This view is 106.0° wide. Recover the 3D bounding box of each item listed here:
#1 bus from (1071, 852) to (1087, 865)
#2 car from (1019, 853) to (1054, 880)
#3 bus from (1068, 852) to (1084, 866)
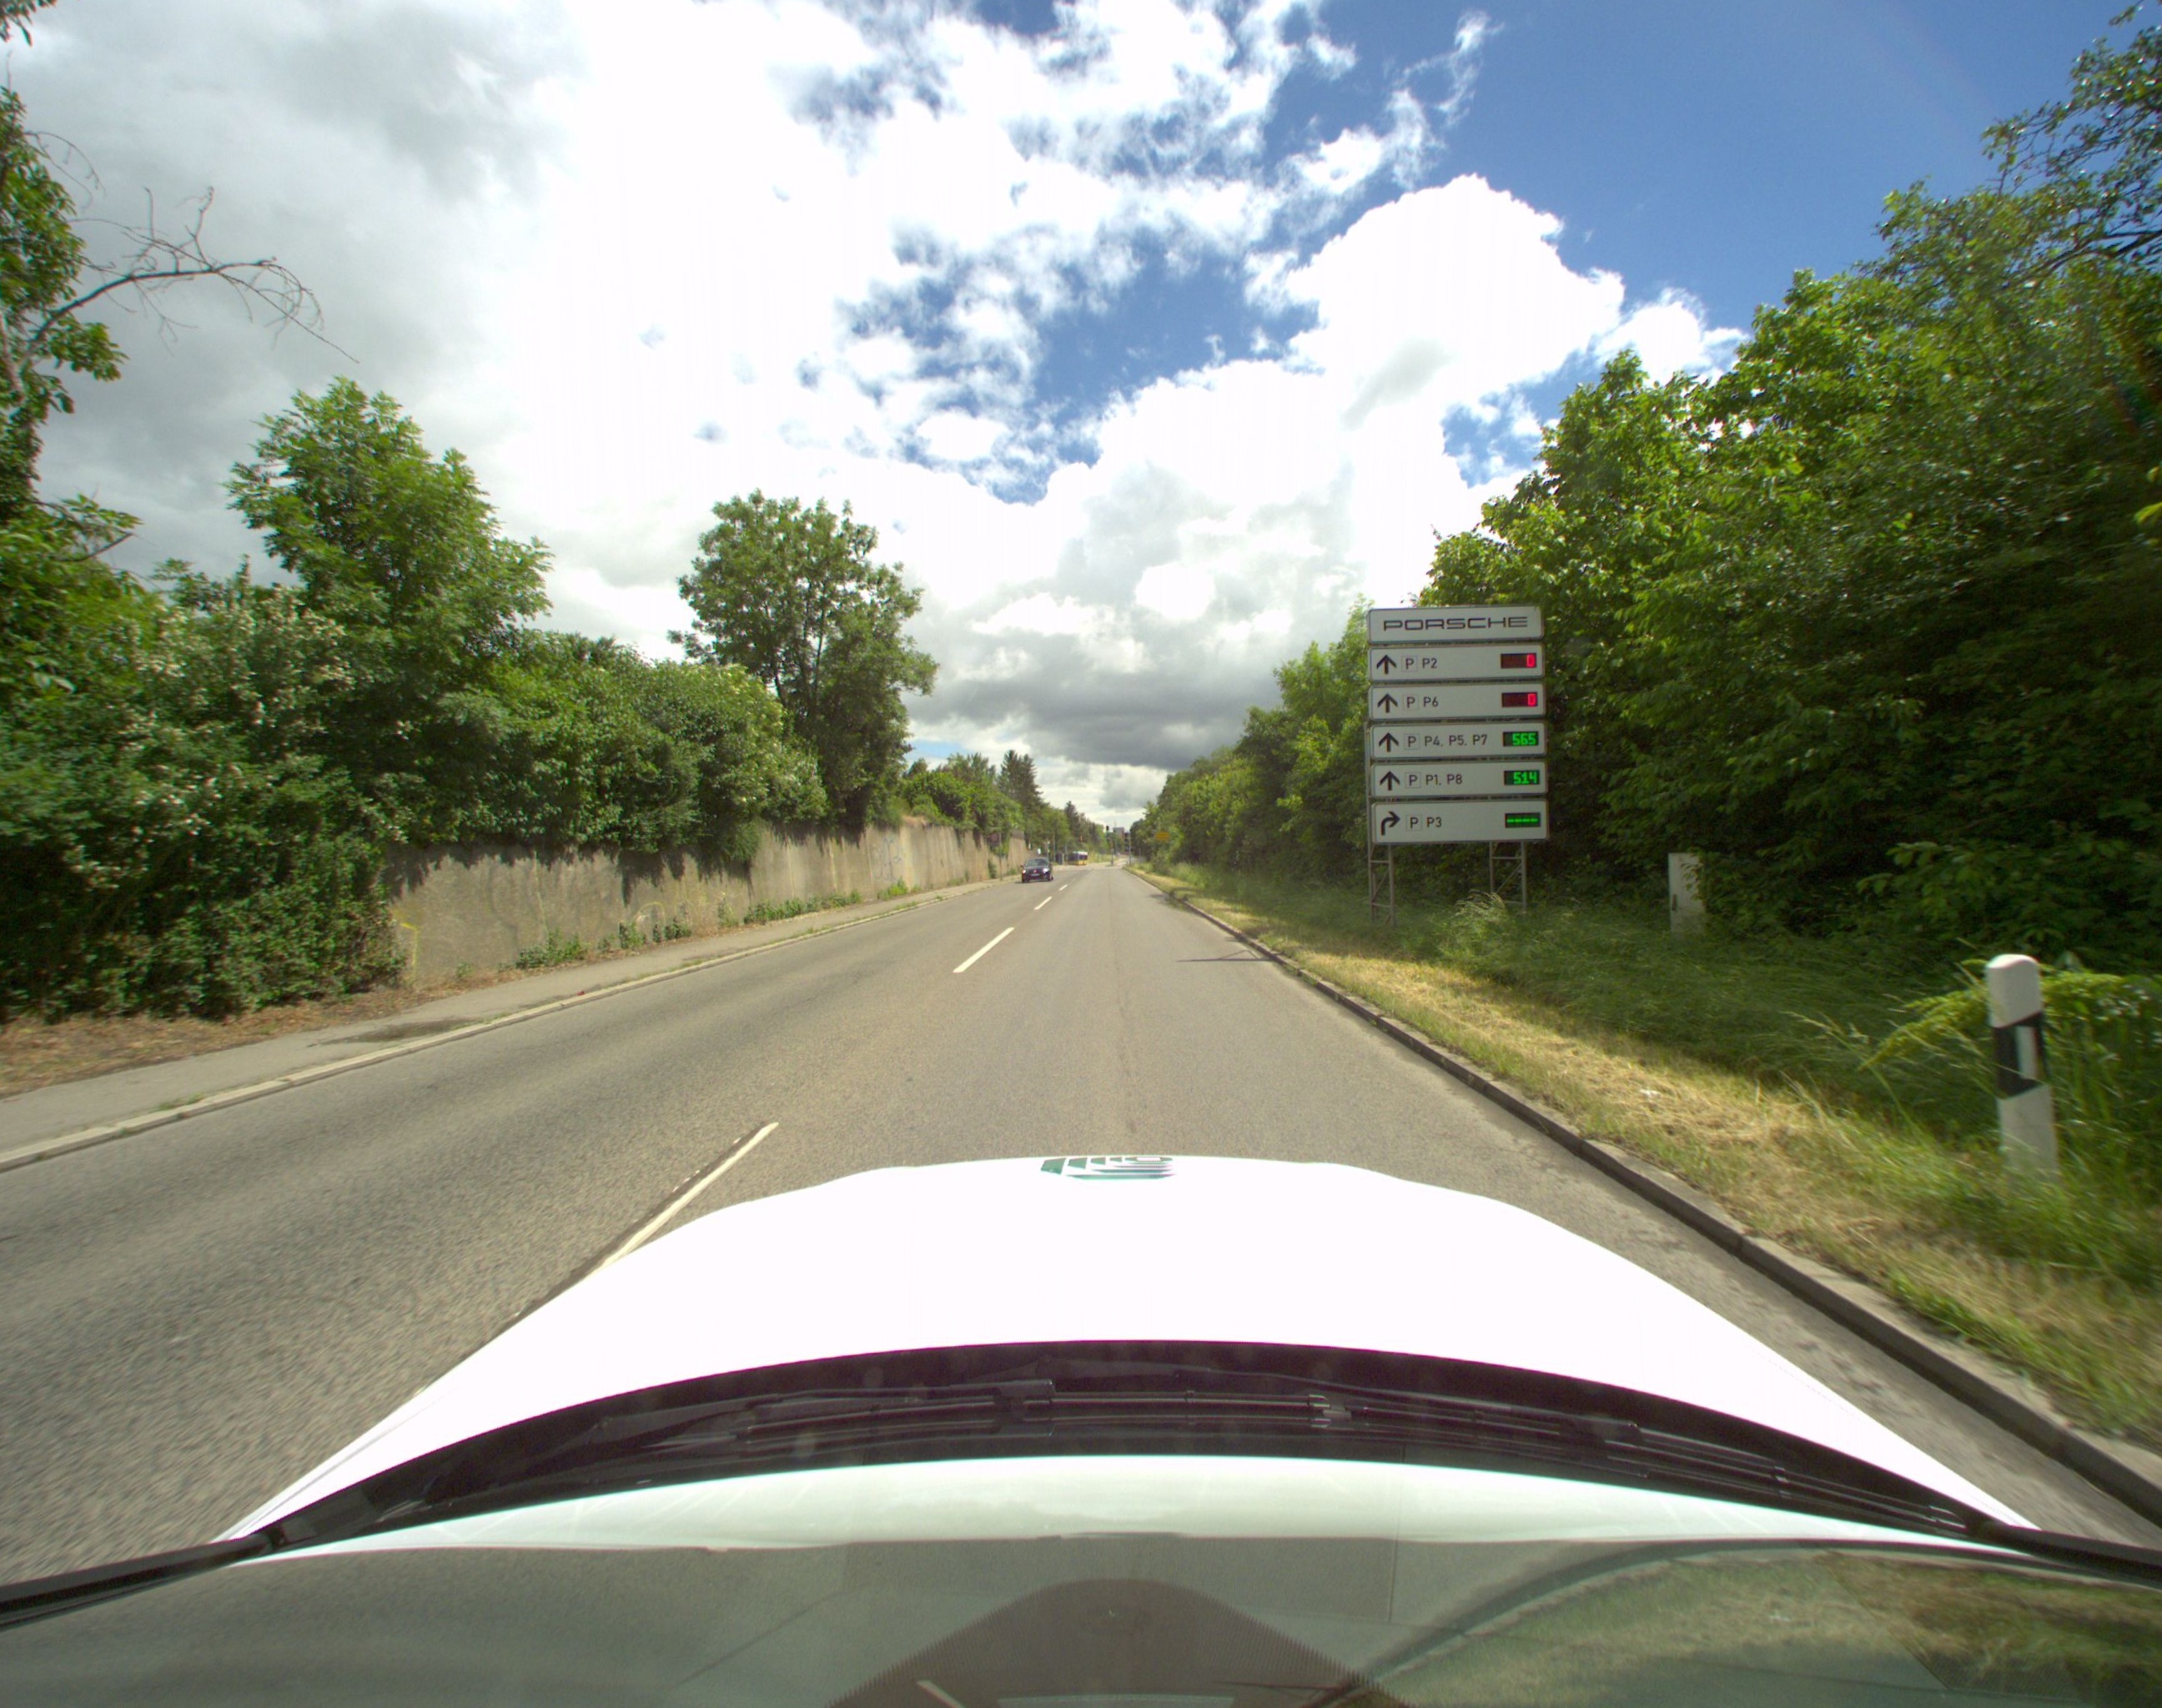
[{"bbox_3d":[-0.443,0.975,191.829,2.881,2.898,7.678,0,1,5],"label":"bus"},{"bbox_3d":[-2.686,0.740,49.699,1.745,1.464,4.001,-2,0,1],"label":"car"},{"bbox_3d":[-1.135,1.111,184.145,2.881,2.898,7.678,0,1,5],"label":"bus"}]
